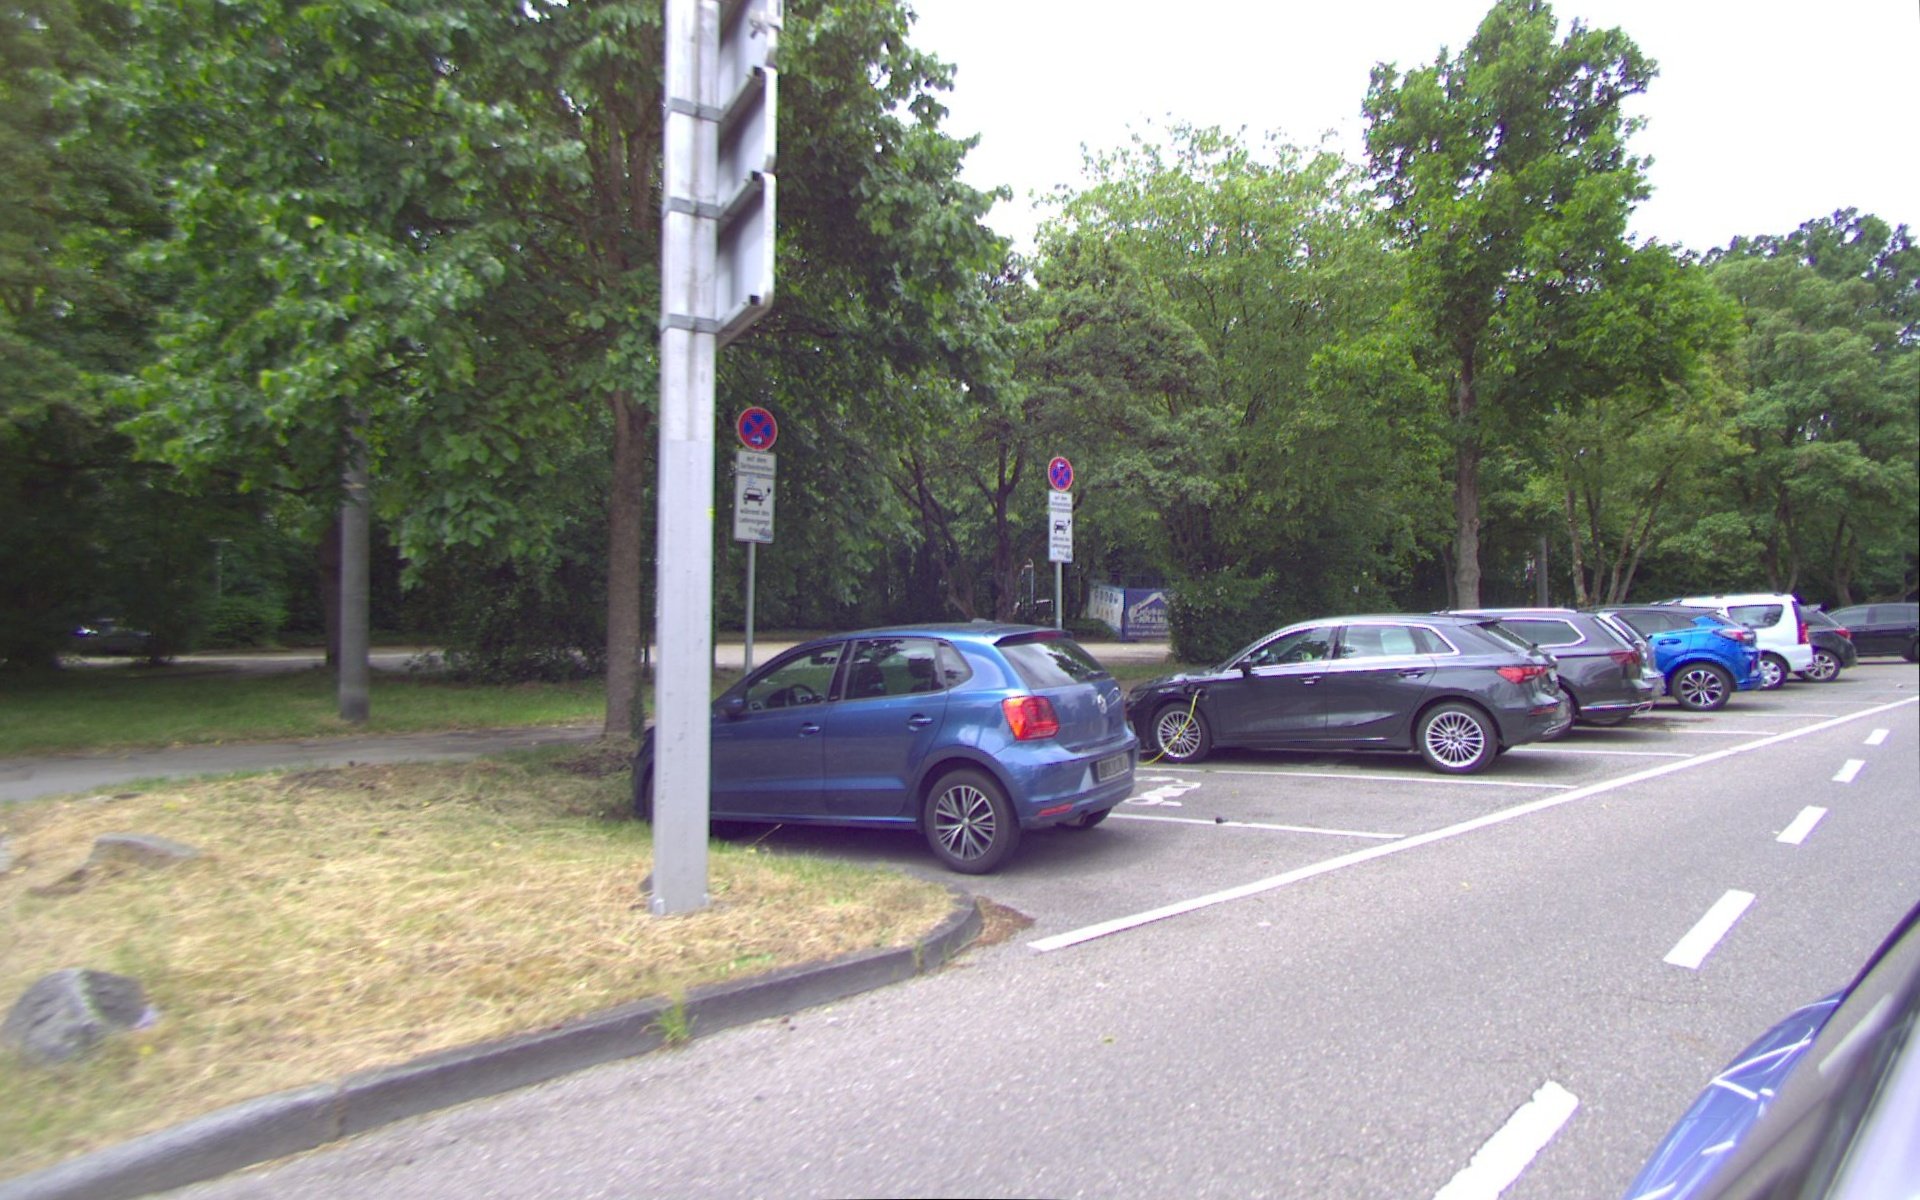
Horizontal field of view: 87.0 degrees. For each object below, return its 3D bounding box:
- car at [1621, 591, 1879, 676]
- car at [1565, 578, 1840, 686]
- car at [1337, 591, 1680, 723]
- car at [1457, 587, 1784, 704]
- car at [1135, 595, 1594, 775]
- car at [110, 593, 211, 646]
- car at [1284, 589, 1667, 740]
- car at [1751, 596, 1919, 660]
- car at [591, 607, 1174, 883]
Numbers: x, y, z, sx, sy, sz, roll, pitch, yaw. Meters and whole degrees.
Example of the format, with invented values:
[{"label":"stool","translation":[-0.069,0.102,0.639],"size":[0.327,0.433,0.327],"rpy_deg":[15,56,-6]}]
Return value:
[{"label":"car","translation":[15.552,0.699,20.123],"size":[3.810,1.487,1.722],"rpy_deg":[-4,-4,39]},{"label":"car","translation":[13.426,0.625,18.567],"size":[3.805,1.742,1.855],"rpy_deg":[-4,-3,35]},{"label":"car","translation":[7.315,0.773,13.681],"size":[3.805,1.548,1.724],"rpy_deg":[-4,-2,35]},{"label":"car","translation":[9.700,0.706,15.120],"size":[3.805,1.548,1.724],"rpy_deg":[-4,-2,35]},{"label":"car","translation":[3.920,0.795,10.069],"size":[3.862,1.444,1.806],"rpy_deg":[-4,-2,37]},{"label":"car","translation":[-23.375,0.540,29.741],"size":[1.764,1.427,4.003],"rpy_deg":[-1,0,-30]},{"label":"car","translation":[6.081,0.764,12.130],"size":[3.805,1.548,1.724],"rpy_deg":[-4,-2,35]},{"label":"car","translation":[22.187,0.680,24.923],"size":[3.969,1.432,2.033],"rpy_deg":[-4,-3,33]},{"label":"car","translation":[-0.642,0.885,7.136],"size":[3.801,1.443,1.726],"rpy_deg":[-4,-2,33]}]
